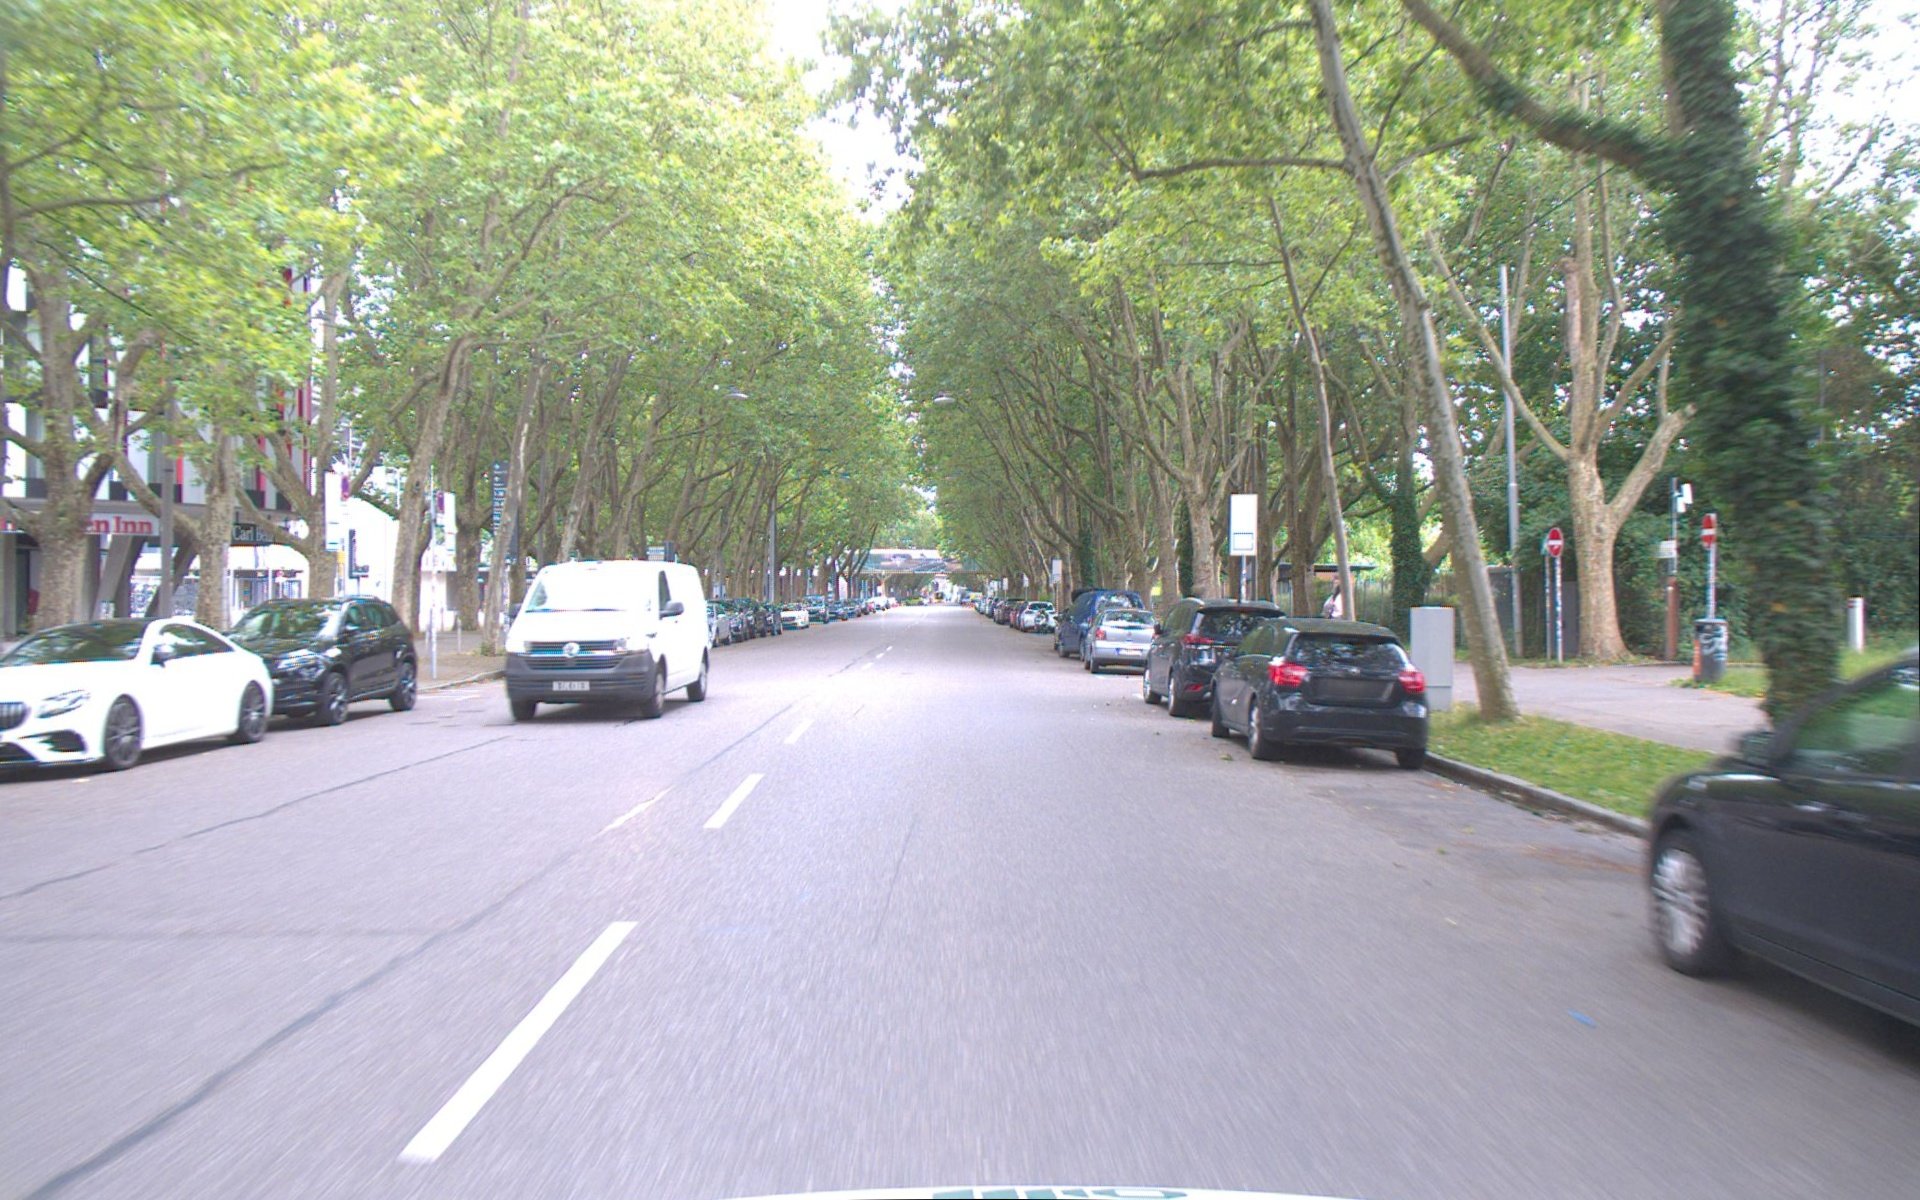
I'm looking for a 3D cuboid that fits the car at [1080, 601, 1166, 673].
[{"bbox_3d":[3.680,0.795,37.854,1.585,1.487,3.946,2,0,1],"label":"car"}]

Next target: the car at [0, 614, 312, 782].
[{"bbox_3d":[-8.487,0.891,16.958,1.779,1.386,5.004,-2,0,-1],"label":"car"}]

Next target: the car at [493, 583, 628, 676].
[{"bbox_3d":[-8.741,0.630,36.608,1.857,1.827,4.611,-3,0,-1],"label":"car"}]

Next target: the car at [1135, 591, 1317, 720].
[{"bbox_3d":[3.759,0.727,24.141,1.792,1.630,4.466,2,0,-1],"label":"car"}]

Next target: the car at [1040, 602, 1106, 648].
[{"bbox_3d":[3.903,0.838,57.884,1.953,1.504,4.371,2,0,-1],"label":"car"}]

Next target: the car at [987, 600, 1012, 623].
[{"bbox_3d":[3.128,0.874,130.834,1.673,1.728,4.629,2,0,-2],"label":"car"}]

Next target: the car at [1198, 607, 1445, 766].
[{"bbox_3d":[3.827,0.851,18.261,1.739,1.443,4.287,2,0,0],"label":"car"}]

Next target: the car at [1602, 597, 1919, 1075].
[{"bbox_3d":[4.071,0.821,5.877,1.741,1.580,4.395,2,0,-1],"label":"car"}]

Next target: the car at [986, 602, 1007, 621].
[{"bbox_3d":[3.433,1.095,157.420,1.864,1.769,4.506,0,0,0],"label":"car"}]

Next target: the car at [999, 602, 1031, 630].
[{"bbox_3d":[3.351,0.972,101.080,1.720,1.648,4.438,2,0,0],"label":"car"}]

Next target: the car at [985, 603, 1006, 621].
[{"bbox_3d":[3.052,1.044,143.555,1.672,1.452,3.889,2,0,0],"label":"car"}]

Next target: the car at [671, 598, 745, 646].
[{"bbox_3d":[-8.495,0.718,56.096,1.796,1.481,4.230,-3,0,0],"label":"car"}]

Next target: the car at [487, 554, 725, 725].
[{"bbox_3d":[-4.561,0.456,22.255,2.017,1.996,5.465,-1,0,0],"label":"car"}]

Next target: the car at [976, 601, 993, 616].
[{"bbox_3d":[2.671,0.933,180.620,1.766,1.583,3.999,0,0,-1],"label":"car"}]

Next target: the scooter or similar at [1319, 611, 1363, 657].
[{"bbox_3d":[9.240,0.817,40.130,0.666,1.056,1.467,-3,0,0],"label":"scooter or similar"}]

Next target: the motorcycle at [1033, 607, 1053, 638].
[{"bbox_3d":[3.707,0.977,73.902,0.697,1.355,1.994,1,0,8],"label":"motorcycle"}]

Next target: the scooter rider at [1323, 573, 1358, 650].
[{"bbox_3d":[9.222,0.288,40.108,0.662,1.831,0.587,-2,0,0],"label":"scooter rider"}]

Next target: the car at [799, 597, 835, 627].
[{"bbox_3d":[-8.928,0.773,103.526,1.909,1.781,4.637,-2,0,-1],"label":"car"}]

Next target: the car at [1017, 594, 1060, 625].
[{"bbox_3d":[3.731,0.438,79.162,1.700,1.464,4.121,0,0,-2],"label":"car"}]

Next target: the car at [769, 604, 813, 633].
[{"bbox_3d":[-9.202,0.981,90.342,1.865,1.427,4.751,-3,0,0],"label":"car"}]

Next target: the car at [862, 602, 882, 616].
[{"bbox_3d":[-10.395,1.052,195.140,2.031,1.590,4.756,0,0,0],"label":"car"}]

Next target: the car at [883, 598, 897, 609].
[{"bbox_3d":[-10.432,0.511,246.586,1.955,1.629,3.995,1,0,-5],"label":"car"}]

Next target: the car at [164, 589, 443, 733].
[{"bbox_3d":[-8.493,0.732,21.859,1.780,1.621,4.345,-3,0,2],"label":"car"}]

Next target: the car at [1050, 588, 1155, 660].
[{"bbox_3d":[3.837,0.616,45.179,1.808,1.814,4.438,2,0,-9],"label":"car"}]

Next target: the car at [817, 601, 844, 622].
[{"bbox_3d":[-9.500,0.802,121.701,1.689,1.512,4.574,0,0,0],"label":"car"}]

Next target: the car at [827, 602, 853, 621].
[{"bbox_3d":[-10.082,0.976,139.559,1.839,1.553,4.150,-1,0,0],"label":"car"}]

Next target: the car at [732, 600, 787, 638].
[{"bbox_3d":[-8.772,0.789,72.662,1.796,1.520,4.442,-3,0,0],"label":"car"}]

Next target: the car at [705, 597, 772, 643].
[{"bbox_3d":[-8.945,0.779,67.105,1.898,1.671,4.928,-3,0,1],"label":"car"}]

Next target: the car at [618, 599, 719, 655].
[{"bbox_3d":[-8.759,0.775,50.146,2.041,1.556,5.146,-1,0,1],"label":"car"}]

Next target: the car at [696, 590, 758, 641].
[{"bbox_3d":[-8.595,0.561,61.331,1.832,1.748,4.645,-3,0,-3],"label":"car"}]
